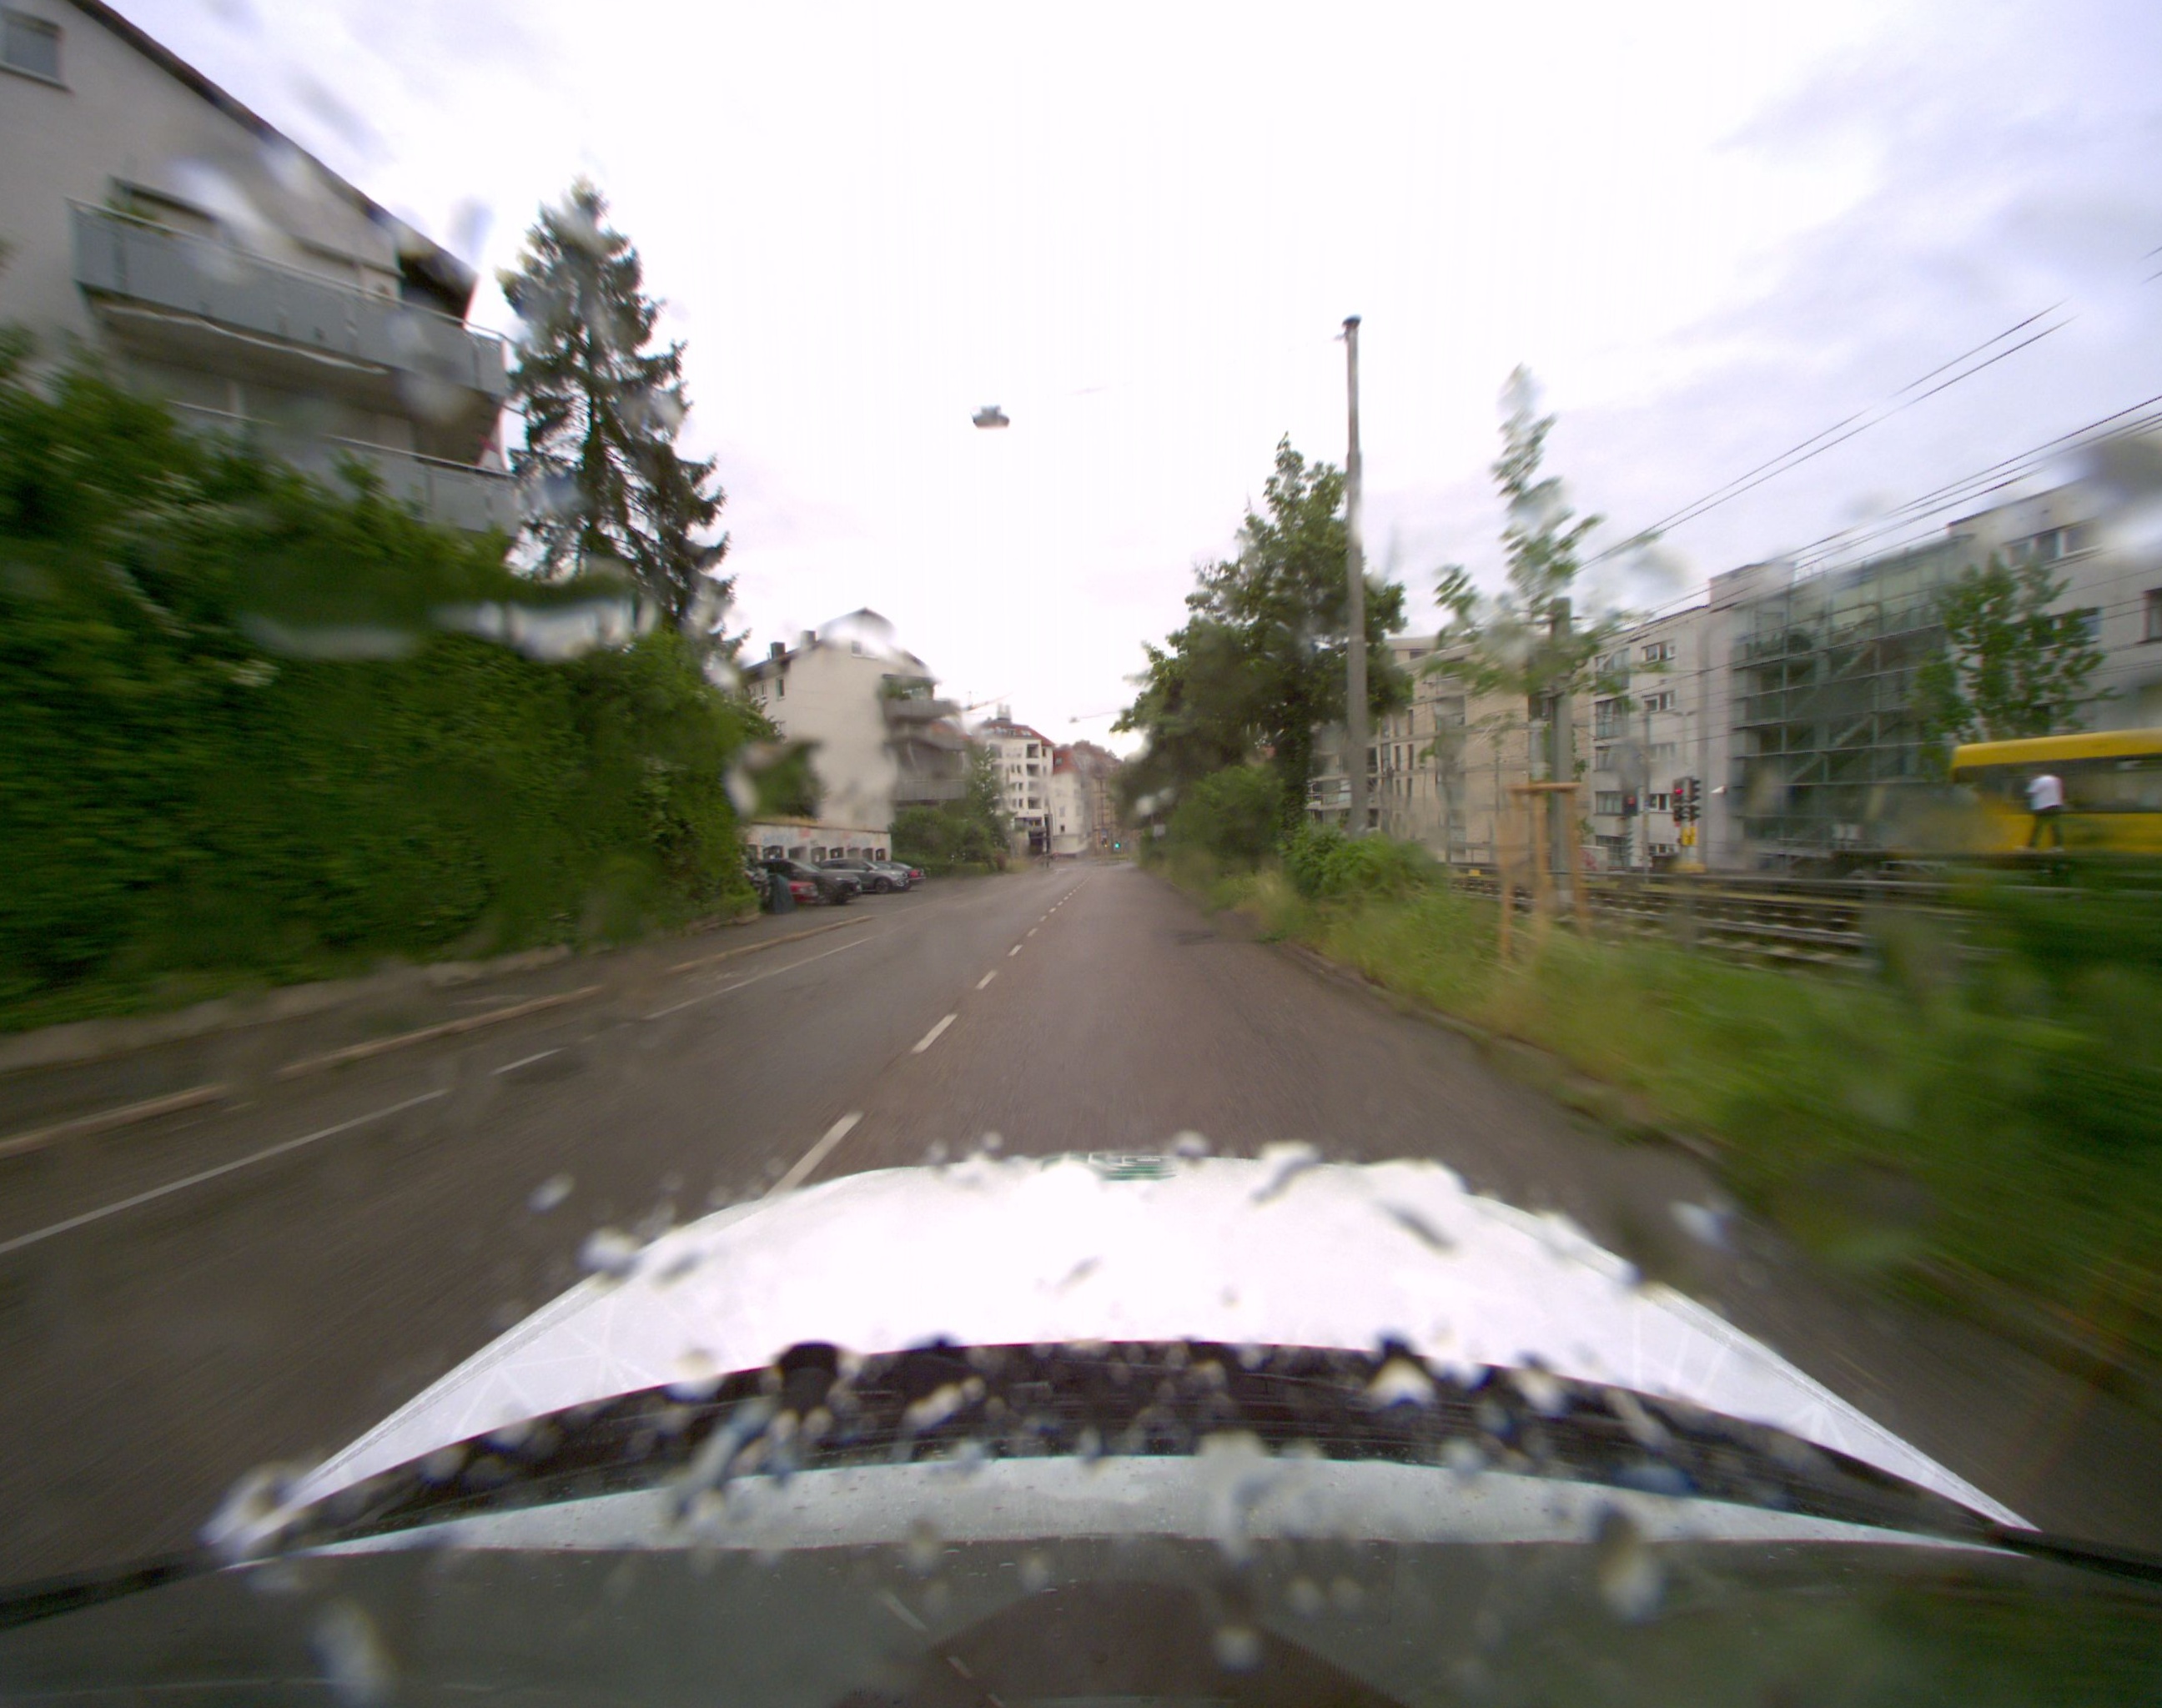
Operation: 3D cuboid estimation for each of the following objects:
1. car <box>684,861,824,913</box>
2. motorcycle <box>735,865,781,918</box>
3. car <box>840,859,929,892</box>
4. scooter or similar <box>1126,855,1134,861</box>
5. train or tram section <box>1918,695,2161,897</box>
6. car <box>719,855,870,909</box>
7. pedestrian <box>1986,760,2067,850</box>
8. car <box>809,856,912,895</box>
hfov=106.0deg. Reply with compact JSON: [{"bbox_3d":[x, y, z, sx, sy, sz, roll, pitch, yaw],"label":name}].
[{"bbox_3d":[-10.060,0.991,25.270,3.625,1.405,1.714,-2,-1,-5],"label":"car"},{"bbox_3d":[-8.699,0.978,22.005,0.616,1.320,2.313,-2,-1,-9],"label":"motorcycle"},{"bbox_3d":[-9.164,0.978,38.108,3.616,1.407,1.785,-2,-1,3],"label":"car"},{"bbox_3d":[6.696,0.506,111.349,0.480,0.761,1.338,-3,0,30],"label":"scooter or similar"},{"bbox_3d":[22.582,-1.036,11.213,3.318,3.946,18.824,-2,2,2],"label":"train or tram section"},{"bbox_3d":[-9.726,0.925,27.860,4.433,1.602,1.815,-2,1,1],"label":"car"},{"bbox_3d":[20.694,-1.045,17.848,0.719,1.880,0.818,-2,-1,2],"label":"pedestrian"},{"bbox_3d":[-9.619,0.922,35.756,3.977,1.559,1.878,-2,-1,-3],"label":"car"}]
